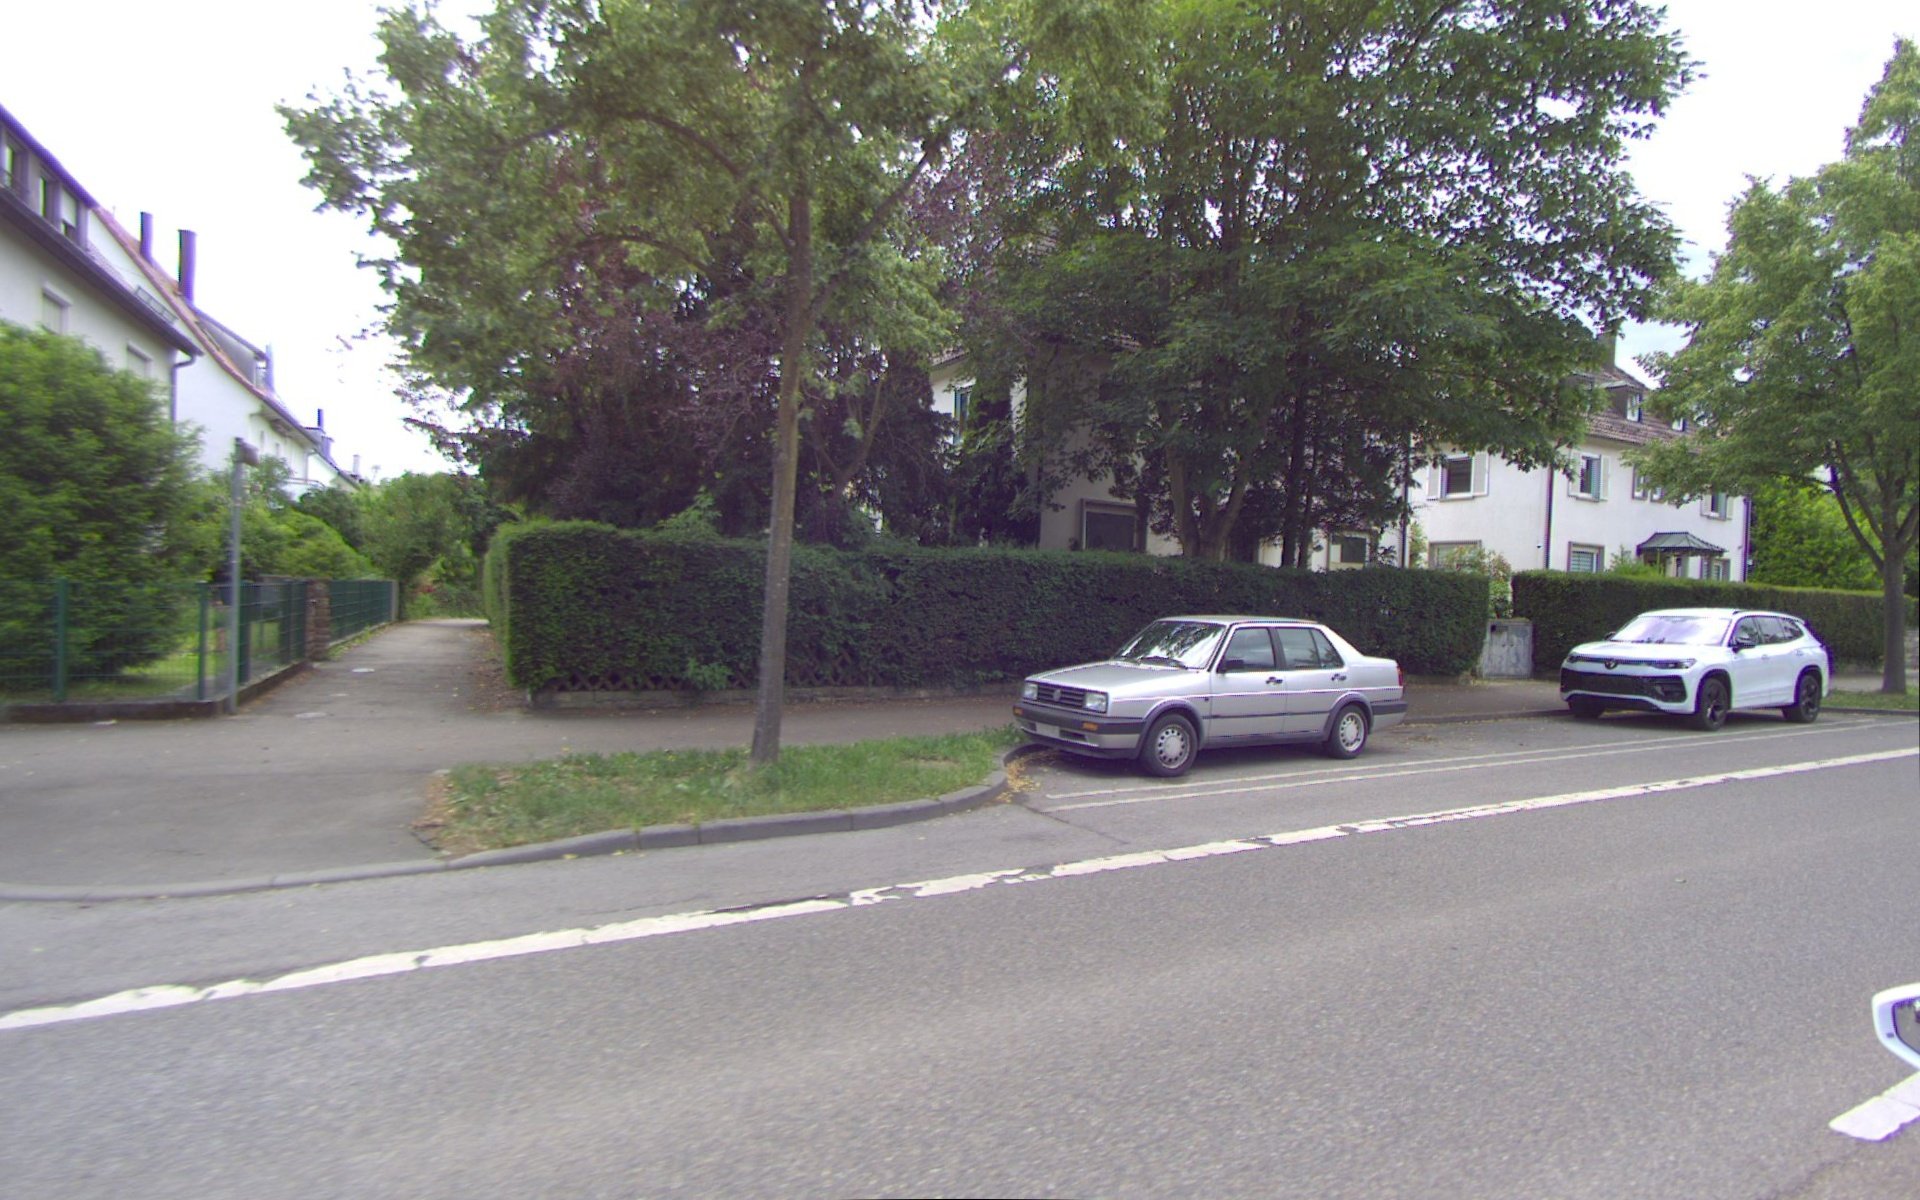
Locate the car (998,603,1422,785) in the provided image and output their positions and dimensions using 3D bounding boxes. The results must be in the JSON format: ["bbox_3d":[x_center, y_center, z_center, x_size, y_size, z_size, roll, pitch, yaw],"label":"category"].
[{"bbox_3d":[2.648,0.837,10.227,4.402,1.490,1.547,1,0,-32],"label":"car"}]

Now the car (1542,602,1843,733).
[{"bbox_3d":[11.043,0.938,15.084,4.640,1.674,1.809,1,1,-28],"label":"car"}]
